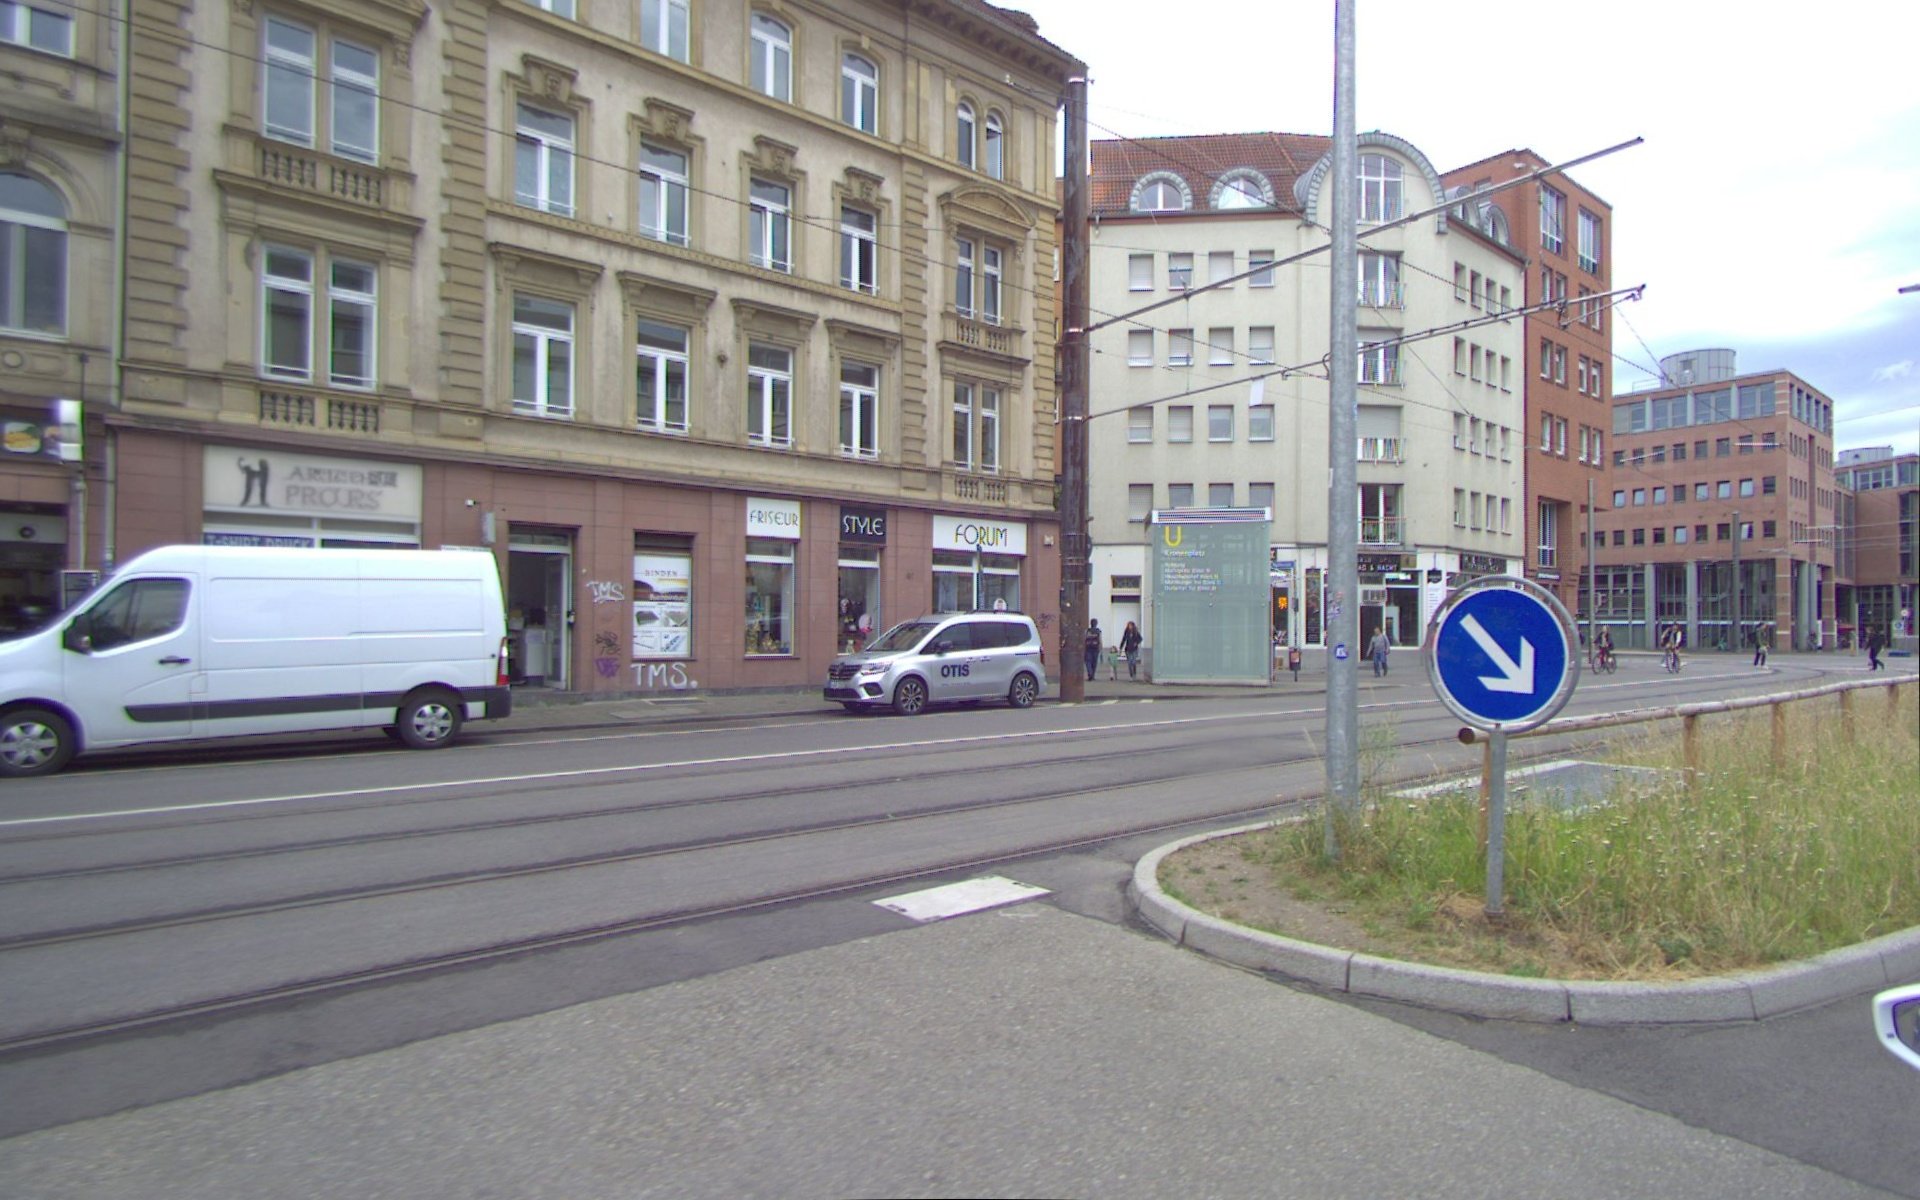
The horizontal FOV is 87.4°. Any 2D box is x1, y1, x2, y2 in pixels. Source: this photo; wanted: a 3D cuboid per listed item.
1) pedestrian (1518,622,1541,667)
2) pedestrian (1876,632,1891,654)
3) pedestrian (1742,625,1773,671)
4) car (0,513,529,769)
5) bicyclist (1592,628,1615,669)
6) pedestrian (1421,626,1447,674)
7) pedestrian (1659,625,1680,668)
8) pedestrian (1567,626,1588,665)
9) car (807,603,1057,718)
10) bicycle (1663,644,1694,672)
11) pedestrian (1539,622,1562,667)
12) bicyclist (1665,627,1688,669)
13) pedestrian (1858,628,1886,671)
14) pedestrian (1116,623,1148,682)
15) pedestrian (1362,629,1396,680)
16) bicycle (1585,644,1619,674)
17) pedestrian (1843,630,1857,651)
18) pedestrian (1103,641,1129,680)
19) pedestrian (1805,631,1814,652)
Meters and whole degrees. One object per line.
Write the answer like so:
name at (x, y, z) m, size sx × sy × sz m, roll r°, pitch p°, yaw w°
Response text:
pedestrian at (22.247, 1.742, 39.261) m, size 0.653 × 1.709 × 0.719 m, roll -1°, pitch -3°, yaw 42°
pedestrian at (81.984, 3.801, 89.182) m, size 0.720 × 1.866 × 0.702 m, roll 1°, pitch -1°, yaw 23°
pedestrian at (33.670, 2.015, 42.406) m, size 0.793 × 1.915 × 0.889 m, roll 3°, pitch -1°, yaw -41°
car at (-8.414, 0.511, 12.097) m, size 5.619 × 2.519 × 2.036 m, roll 2°, pitch -4°, yaw -40°
bicyclist at (22.727, 1.692, 35.480) m, size 0.805 × 1.425 × 0.475 m, roll 2°, pitch -2°, yaw -40°
pedestrian at (17.374, 1.826, 36.818) m, size 0.712 × 1.709 × 0.659 m, roll -1°, pitch -3°, yaw 41°
pedestrian at (32.200, 2.116, 45.565) m, size 0.793 × 1.914 × 0.605 m, roll 3°, pitch -2°, yaw -41°
pedestrian at (27.991, 2.070, 45.522) m, size 0.793 × 1.706 × 0.564 m, roll 3°, pitch -1°, yaw -43°
car at (-0.435, 1.090, 18.683) m, size 4.484 × 1.889 × 1.887 m, roll 2°, pitch -4°, yaw -40°
bicycle at (26.649, 2.139, 37.250) m, size 1.897 × 1.034 × 0.472 m, roll 2°, pitch -2°, yaw -40°
pedestrian at (23.005, 1.738, 39.137) m, size 0.652 × 1.709 × 0.720 m, roll -1°, pitch -3°, yaw 39°
bicyclist at (26.493, 1.768, 37.133) m, size 0.805 × 1.561 × 0.487 m, roll 2°, pitch -2°, yaw -40°
pedestrian at (37.154, 1.995, 40.921) m, size 0.793 × 1.706 × 0.736 m, roll 3°, pitch -1°, yaw -43°
pedestrian at (4.666, 1.416, 27.264) m, size 0.651 × 1.577 × 0.550 m, roll 1°, pitch -1°, yaw -35°
pedestrian at (14.255, 1.844, 34.164) m, size 0.812 × 1.709 × 0.720 m, roll 2°, pitch -2°, yaw -18°
bicycle at (22.581, 2.059, 35.320) m, size 1.897 × 1.034 × 0.475 m, roll 2°, pitch -2°, yaw -41°
pedestrian at (81.523, 3.731, 92.009) m, size 0.721 × 1.866 × 0.702 m, roll 1°, pitch -1°, yaw 27°
pedestrian at (4.304, 1.677, 27.749) m, size 0.448 × 1.044 × 0.551 m, roll 1°, pitch -1°, yaw -30°
pedestrian at (64.335, 3.127, 76.044) m, size 0.443 × 1.552 × 0.521 m, roll 1°, pitch -1°, yaw 34°
